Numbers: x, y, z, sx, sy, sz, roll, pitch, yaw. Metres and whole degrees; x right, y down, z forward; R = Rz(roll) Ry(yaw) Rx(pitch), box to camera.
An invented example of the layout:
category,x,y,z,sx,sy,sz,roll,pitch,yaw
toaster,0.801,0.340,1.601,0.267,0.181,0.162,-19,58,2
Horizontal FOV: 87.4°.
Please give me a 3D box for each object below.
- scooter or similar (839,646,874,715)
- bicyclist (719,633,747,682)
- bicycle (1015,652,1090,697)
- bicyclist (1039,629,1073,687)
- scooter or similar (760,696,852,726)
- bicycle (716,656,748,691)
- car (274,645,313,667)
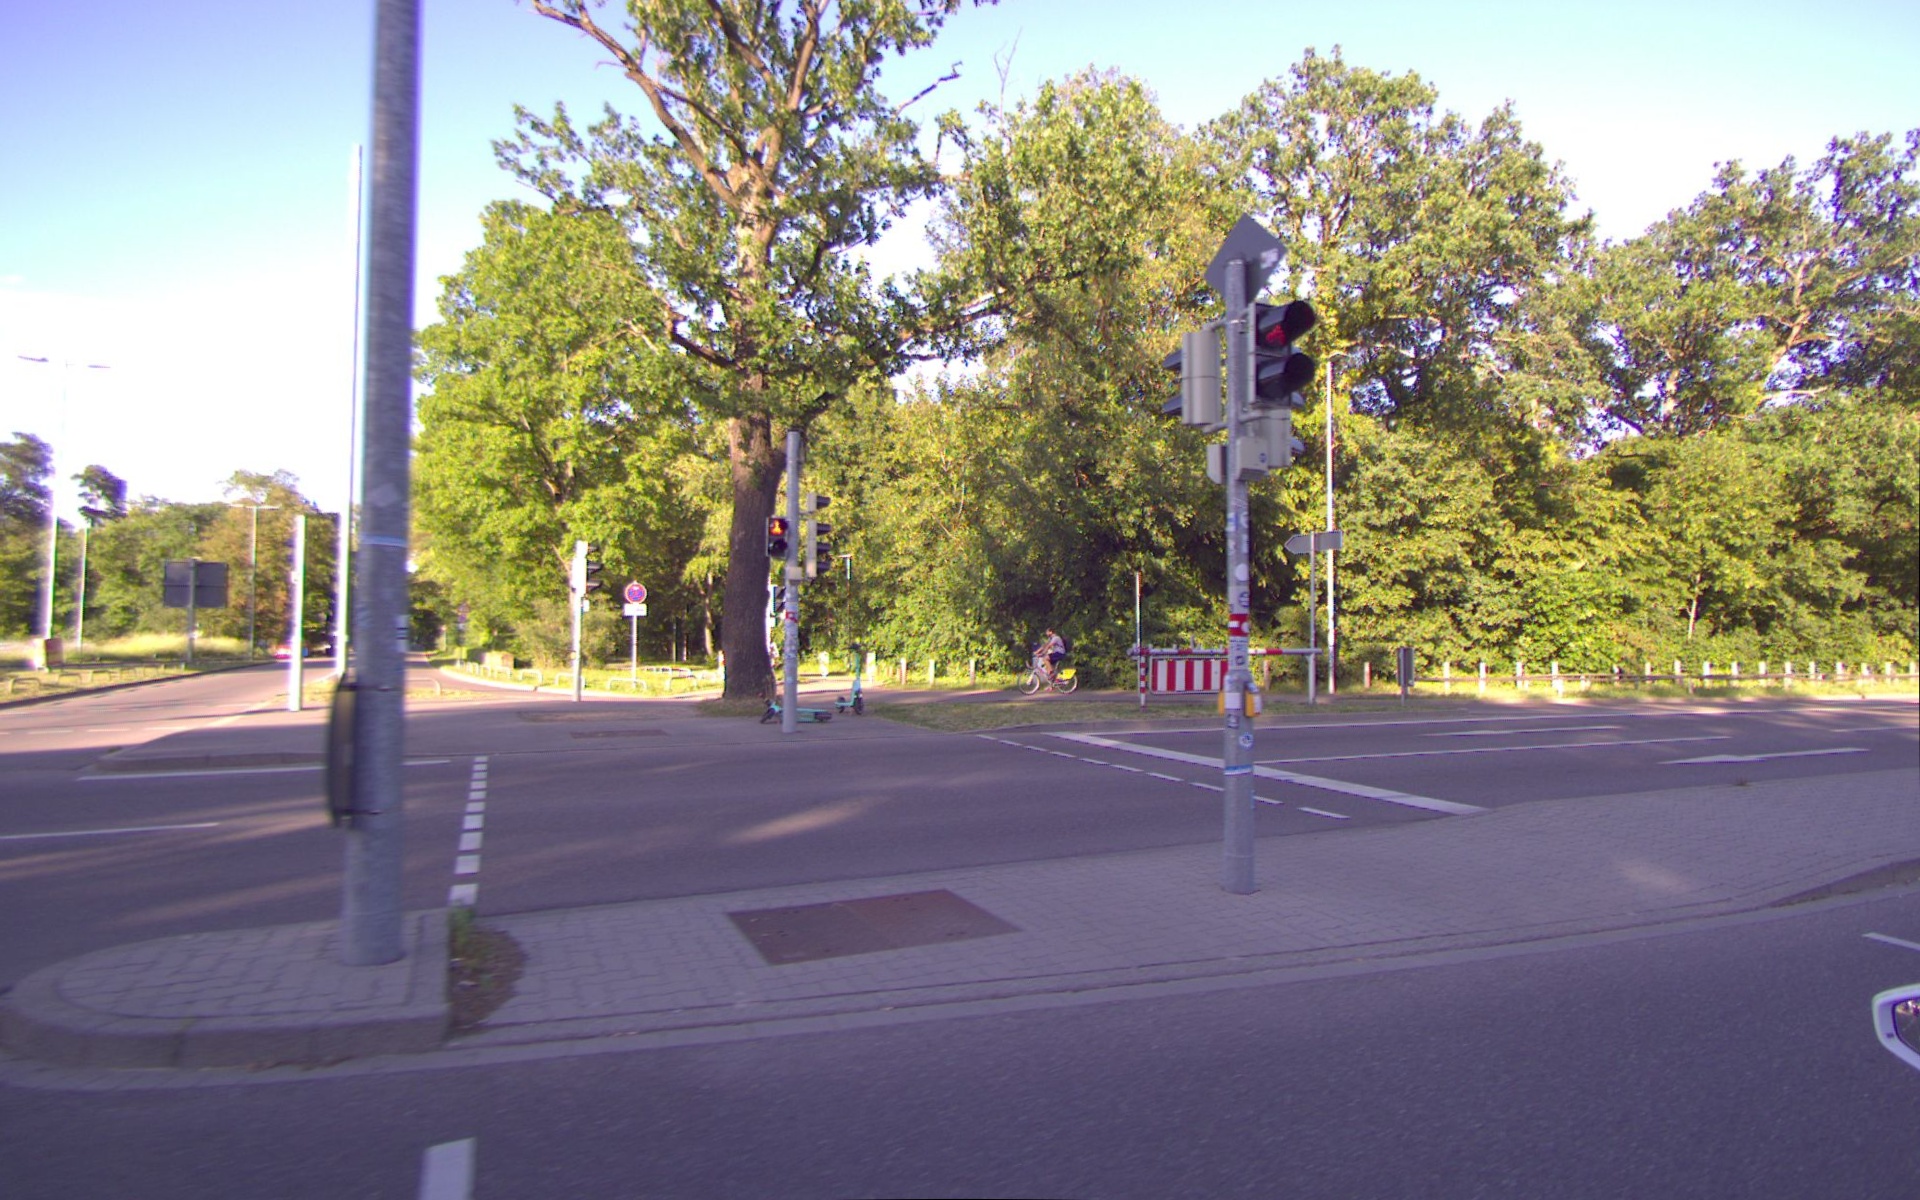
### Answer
category,x,y,z,sx,sy,sz,roll,pitch,yaw
scooter or similar,-1.828,1.390,17.678,0.388,1.162,1.066,0,-2,-19
bicyclist,-7.168,1.814,31.733,0.716,1.502,0.799,1,-1,-6
bicycle,2.548,2.034,27.714,1.948,1.169,0.681,-1,-1,-9
bicyclist,2.638,1.593,27.712,0.786,1.572,0.563,-1,-1,-10
scooter or similar,-2.507,1.771,16.182,1.240,0.344,1.406,0,-2,-19
bicycle,-7.170,2.307,31.667,0.770,0.990,1.589,1,-1,-5
car,-50.722,4.264,76.514,1.632,1.530,3.980,2,-1,-22
